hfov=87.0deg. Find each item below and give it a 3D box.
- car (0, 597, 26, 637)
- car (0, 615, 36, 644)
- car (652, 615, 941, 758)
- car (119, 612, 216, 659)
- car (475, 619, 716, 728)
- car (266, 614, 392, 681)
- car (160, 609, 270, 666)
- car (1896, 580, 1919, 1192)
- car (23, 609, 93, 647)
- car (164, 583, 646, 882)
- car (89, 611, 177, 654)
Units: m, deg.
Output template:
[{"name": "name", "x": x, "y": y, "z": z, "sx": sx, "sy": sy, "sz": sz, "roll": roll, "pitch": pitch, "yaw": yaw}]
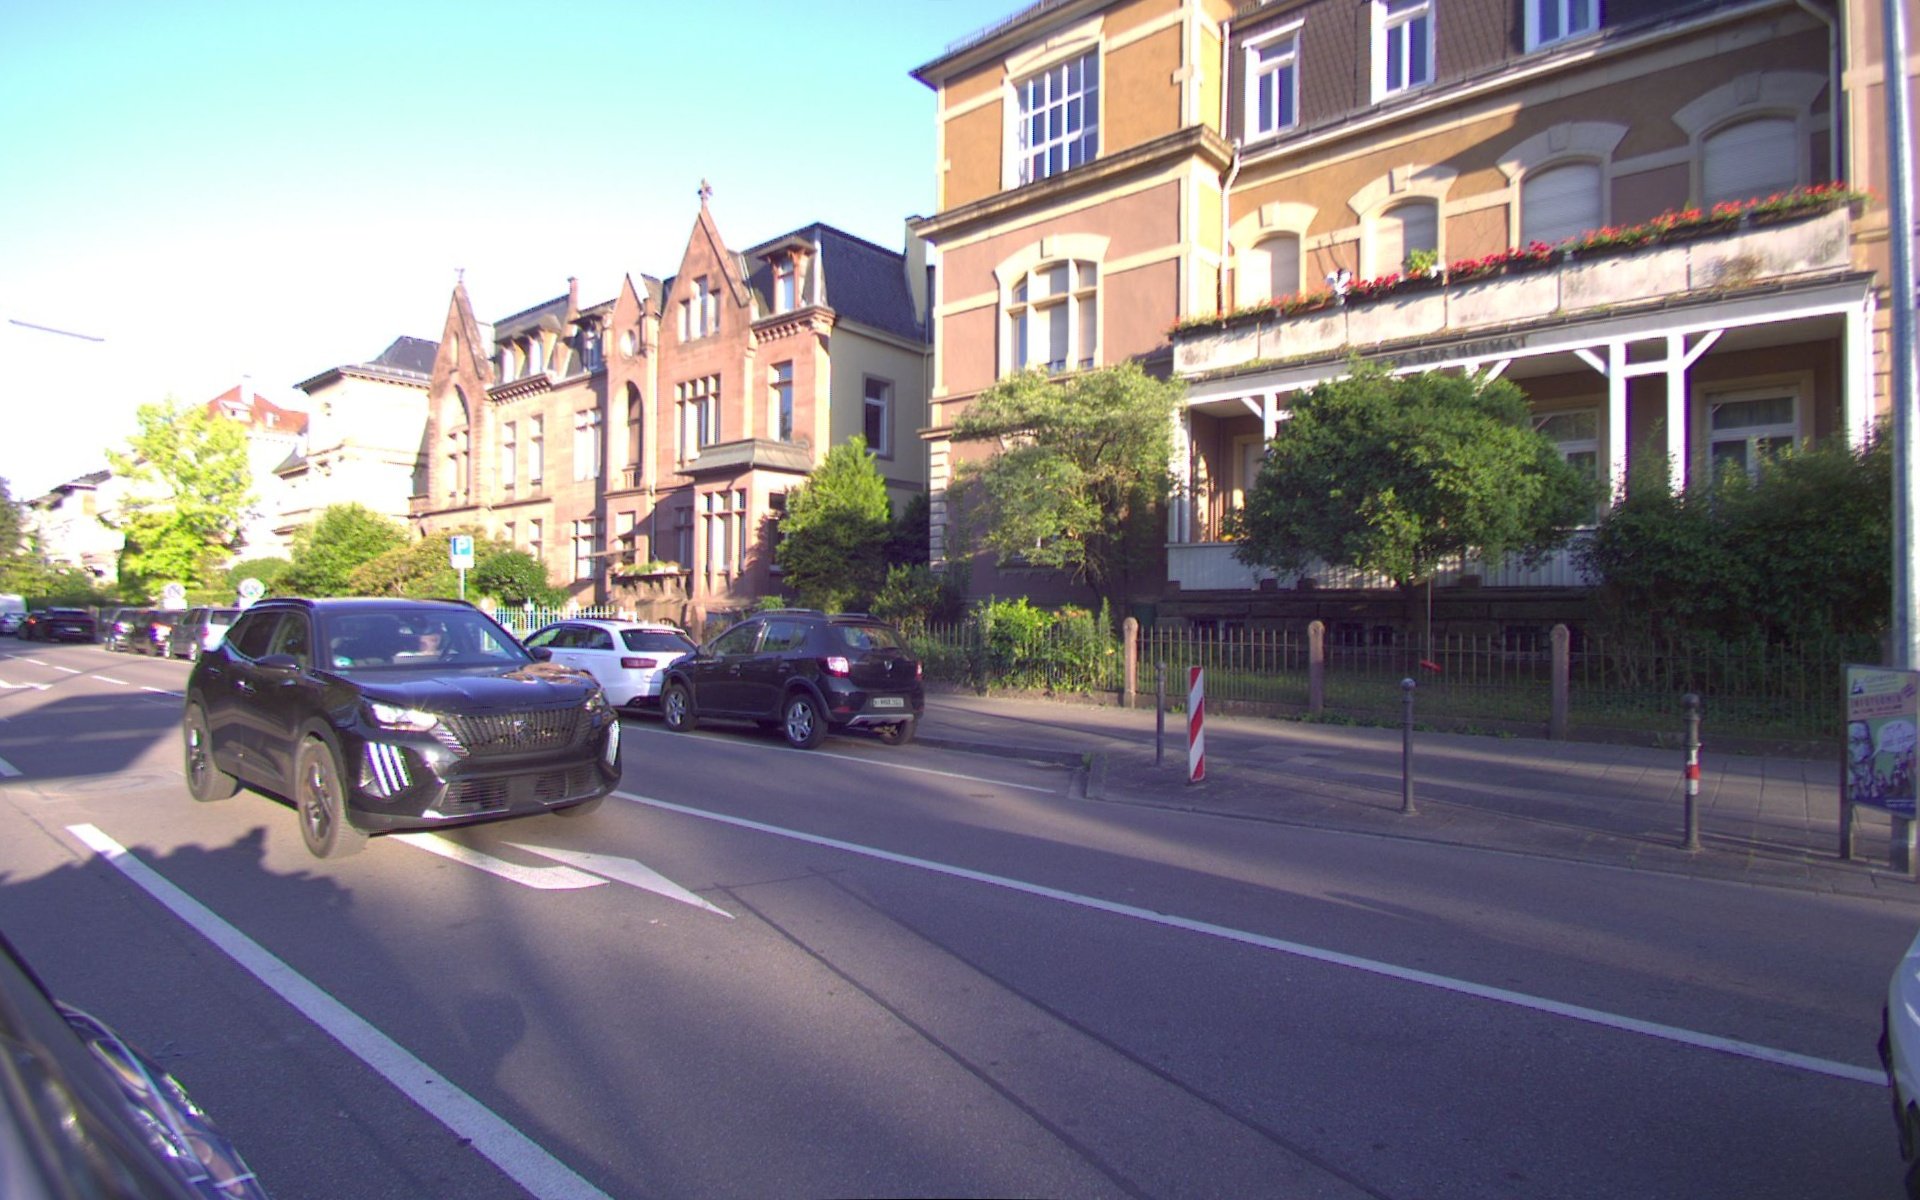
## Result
[{"name": "car", "x": -58.779, "y": 1.025, "z": 61.448, "sx": 5.874, "sy": 2.387, "sz": 2.203, "roll": -1, "pitch": -2, "yaw": 40}, {"name": "car", "x": -53.507, "y": 1.658, "z": 57.020, "sx": 3.852, "sy": 1.617, "sz": 1.693, "roll": -1, "pitch": -2, "yaw": 41}, {"name": "car", "x": -2.163, "y": 1.004, "z": 12.825, "sx": 3.722, "sy": 1.546, "sz": 1.610, "roll": -1, "pitch": -4, "yaw": 43}, {"name": "car", "x": -26.047, "y": 1.156, "z": 33.233, "sx": 3.719, "sy": 1.461, "sz": 1.694, "roll": -1, "pitch": -2, "yaw": 39}, {"name": "car", "x": -5.757, "y": 1.062, "z": 15.695, "sx": 4.432, "sy": 1.454, "sz": 1.587, "roll": -1, "pitch": -4, "yaw": 43}, {"name": "car", "x": -15.014, "y": 1.089, "z": 24.032, "sx": 3.566, "sy": 1.456, "sz": 1.610, "roll": -1, "pitch": -3, "yaw": 43}, {"name": "car", "x": -22.145, "y": 1.091, "z": 30.044, "sx": 3.749, "sy": 1.601, "sz": 1.694, "roll": -1, "pitch": -2, "yaw": 39}, {"name": "car", "x": 3.625, "y": 0.668, "z": 0.749, "sx": 4.185, "sy": 1.477, "sz": 1.734, "roll": -1, "pitch": -2, "yaw": 40}, {"name": "car", "x": -40.548, "y": 1.243, "z": 45.456, "sx": 3.721, "sy": 1.617, "sz": 1.856, "roll": -1, "pitch": -2, "yaw": 41}, {"name": "car", "x": -4.096, "y": 0.722, "z": 7.193, "sx": 3.997, "sy": 1.547, "sz": 1.661, "roll": -1, "pitch": -2, "yaw": 40}, {"name": "car", "x": -29.671, "y": 1.151, "z": 36.285, "sx": 3.719, "sy": 1.461, "sz": 1.694, "roll": -1, "pitch": -2, "yaw": 39}]
